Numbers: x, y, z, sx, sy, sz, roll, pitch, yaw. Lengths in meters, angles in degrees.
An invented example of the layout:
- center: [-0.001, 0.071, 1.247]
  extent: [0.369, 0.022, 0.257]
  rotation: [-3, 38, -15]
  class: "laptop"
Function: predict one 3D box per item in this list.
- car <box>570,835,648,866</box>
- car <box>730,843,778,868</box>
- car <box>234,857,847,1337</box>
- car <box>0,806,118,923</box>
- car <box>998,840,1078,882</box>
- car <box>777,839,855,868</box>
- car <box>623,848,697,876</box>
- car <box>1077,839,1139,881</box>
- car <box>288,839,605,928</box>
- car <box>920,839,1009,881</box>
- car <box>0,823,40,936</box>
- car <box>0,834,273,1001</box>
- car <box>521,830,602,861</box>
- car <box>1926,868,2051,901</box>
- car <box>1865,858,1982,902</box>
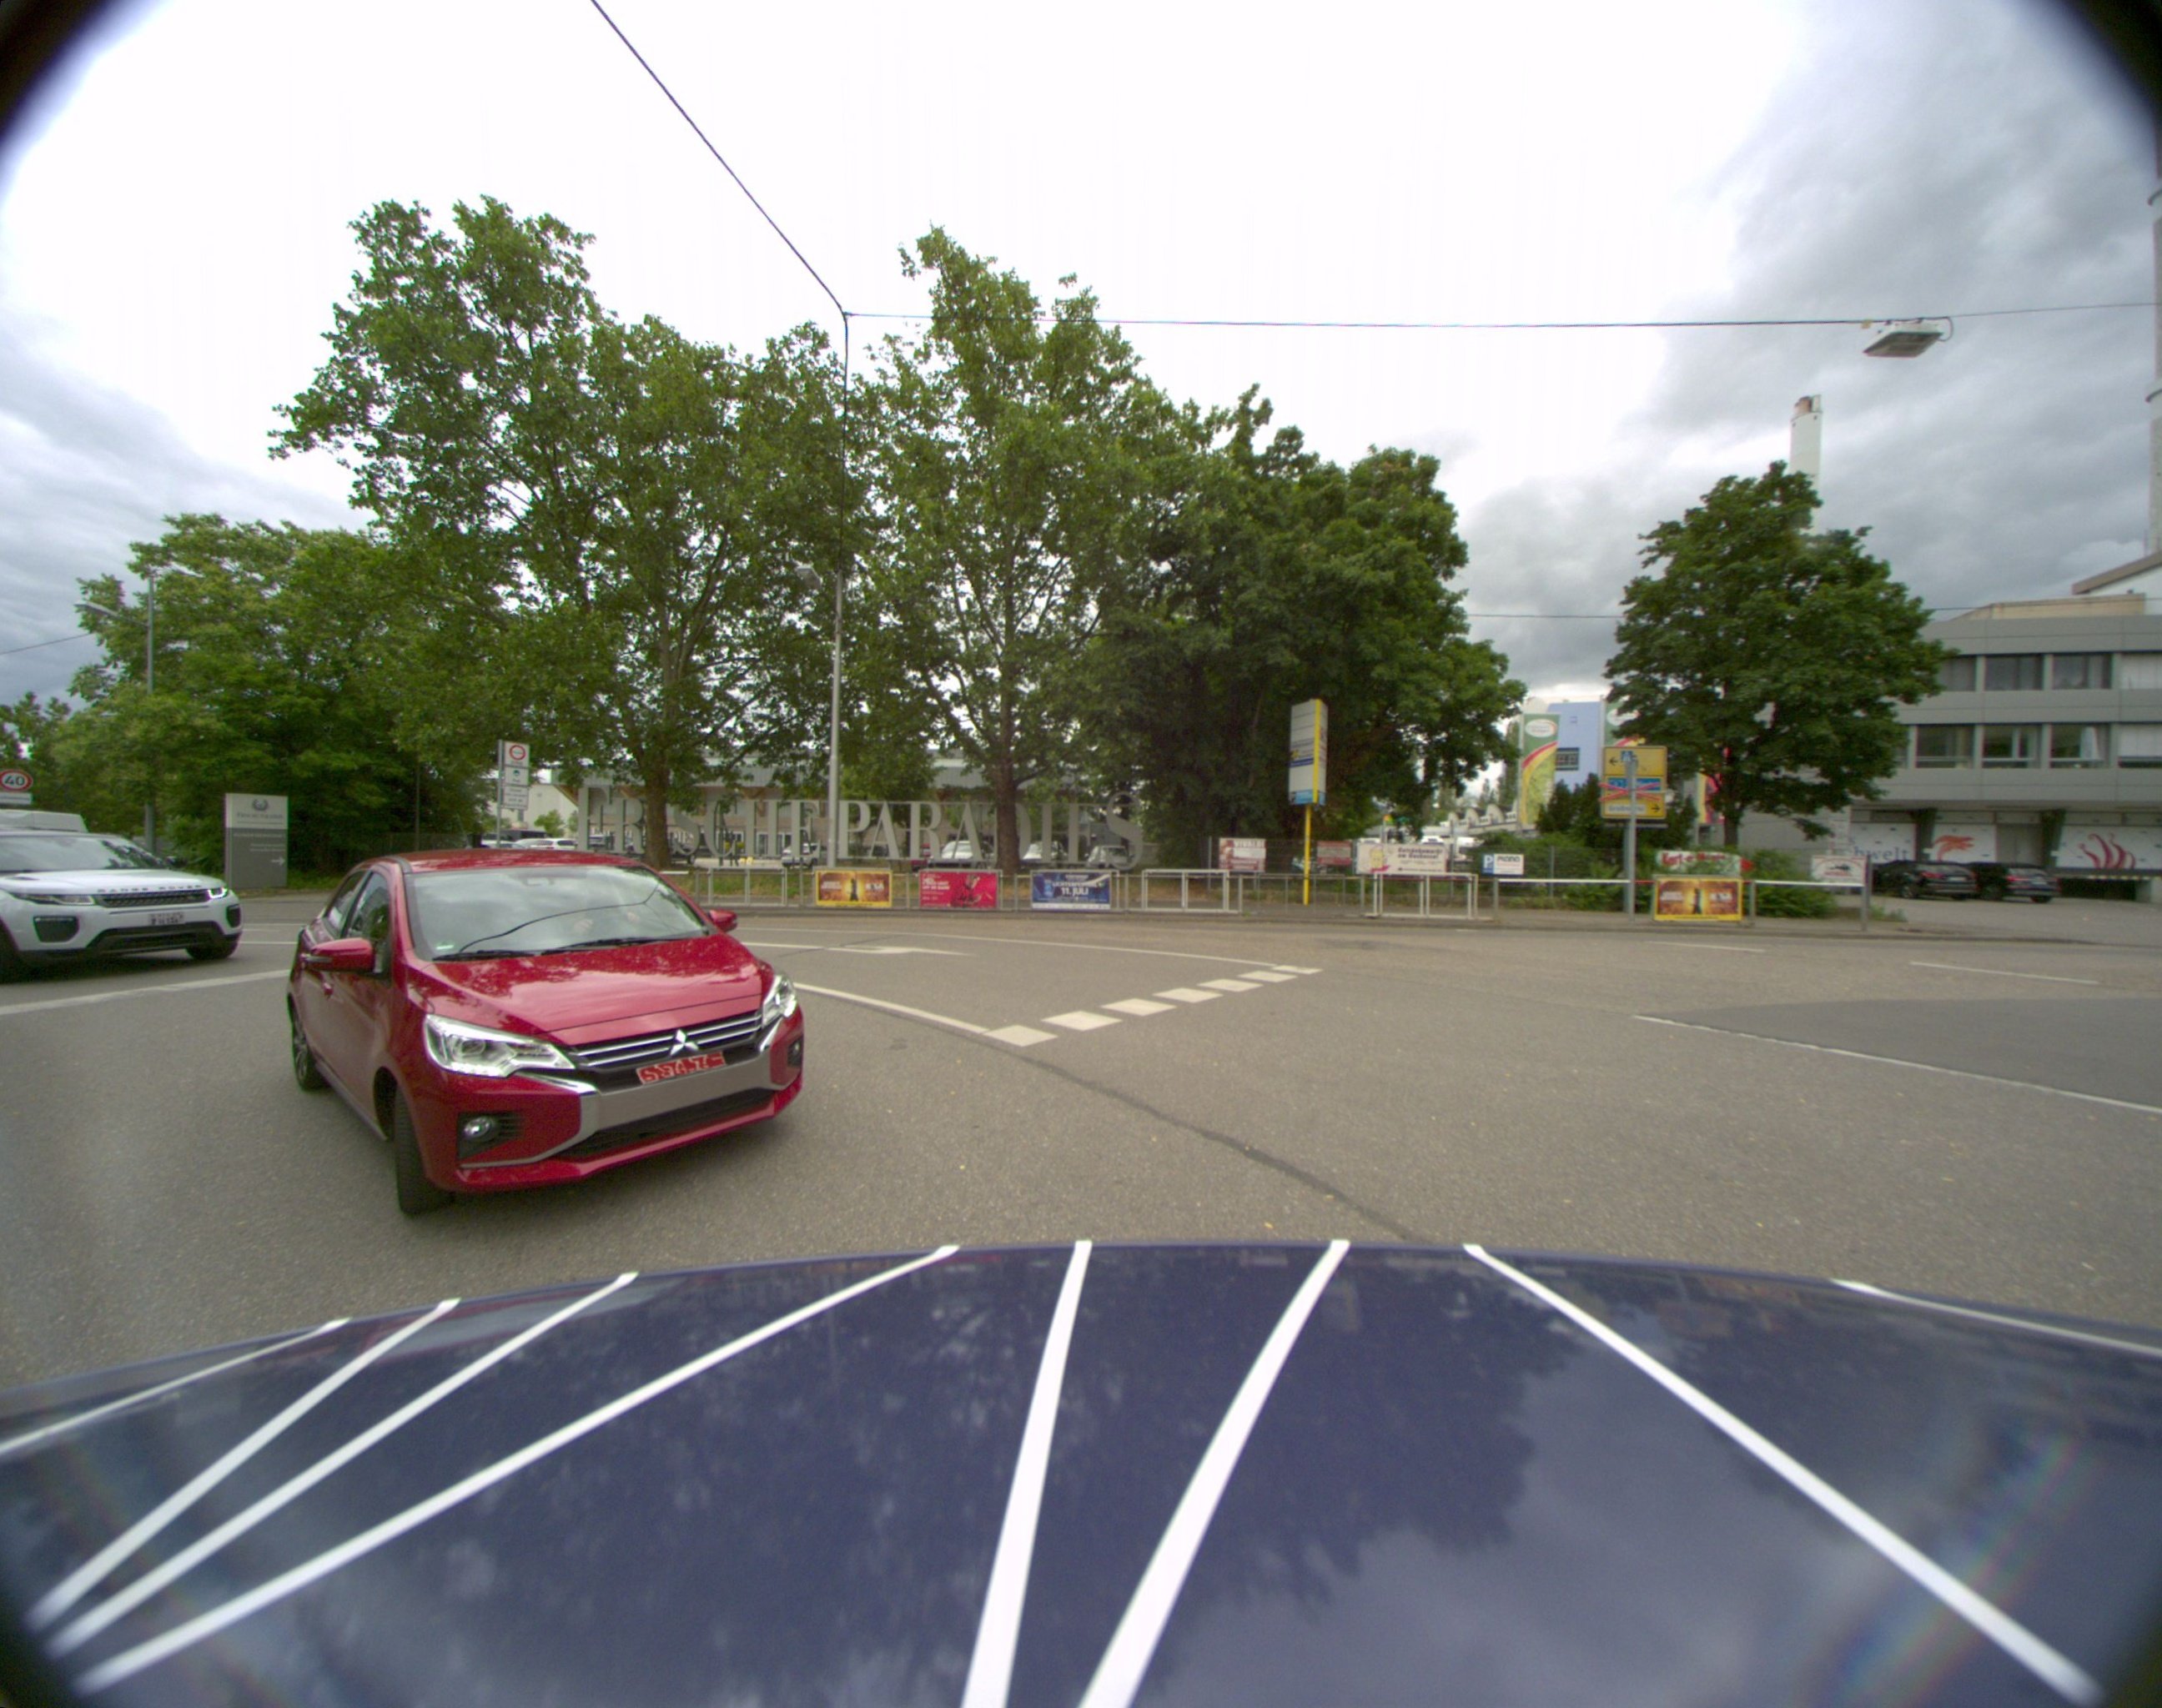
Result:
- center: [-27.630, -0.219, 44.625]
  extent: [1.915, 1.690, 4.001]
  rotation: [1, 0, 3]
  class: "car"
- center: [-24.570, 0.079, 57.227]
  extent: [1.752, 1.674, 3.572]
  rotation: [-2, 1, 4]
  class: "car"
- center: [-3.242, 0.817, 4.336]
  extent: [3.729, 1.521, 1.771]
  rotation: [1, 2, 37]
  class: "car"
- center: [-26.438, 0.333, 17.670]
  extent: [6.473, 2.527, 2.194]
  rotation: [-2, 2, 11]
  class: "car"
- center: [-1.596, 0.223, 30.197]
  extent: [1.997, 1.449, 4.703]
  rotation: [-2, 1, 12]
  class: "car"
- center: [-15.085, -0.064, 43.669]
  extent: [1.936, 1.423, 5.254]
  rotation: [-2, 1, 9]
  class: "car"
- center: [-24.371, 0.456, 44.128]
  extent: [1.915, 1.499, 4.001]
  rotation: [1, 0, 3]
  class: "car"
- center: [1.162, 0.181, 30.267]
  extent: [1.997, 1.449, 4.702]
  rotation: [-2, 1, 7]
  class: "car"
- center: [-13.192, 0.624, 15.972]
  extent: [5.215, 1.448, 2.002]
  rotation: [-4, -2, 6]
  class: "car"
- center: [-4.641, 0.184, 30.970]
  extent: [1.997, 1.449, 4.703]
  rotation: [-2, 1, 12]
  class: "car"
- center: [-21.980, 0.395, 13.497]
  extent: [5.859, 1.968, 1.952]
  rotation: [2, 2, 14]
  class: "car"
- center: [-12.167, 0.590, 8.912]
  extent: [4.105, 1.561, 1.919]
  rotation: [1, 3, 15]
  class: "car"
- center: [-30.875, -0.493, 45.326]
  extent: [1.915, 1.690, 4.001]
  rotation: [1, 0, 3]
  class: "car"
- center: [39.284, 1.293, 33.030]
  extent: [1.774, 1.171, 3.575]
  rotation: [-2, 1, 15]
  class: "car"
- center: [36.780, 1.087, 33.299]
  extent: [1.774, 1.669, 3.575]
  rotation: [-2, 1, 15]
  class: "car"
